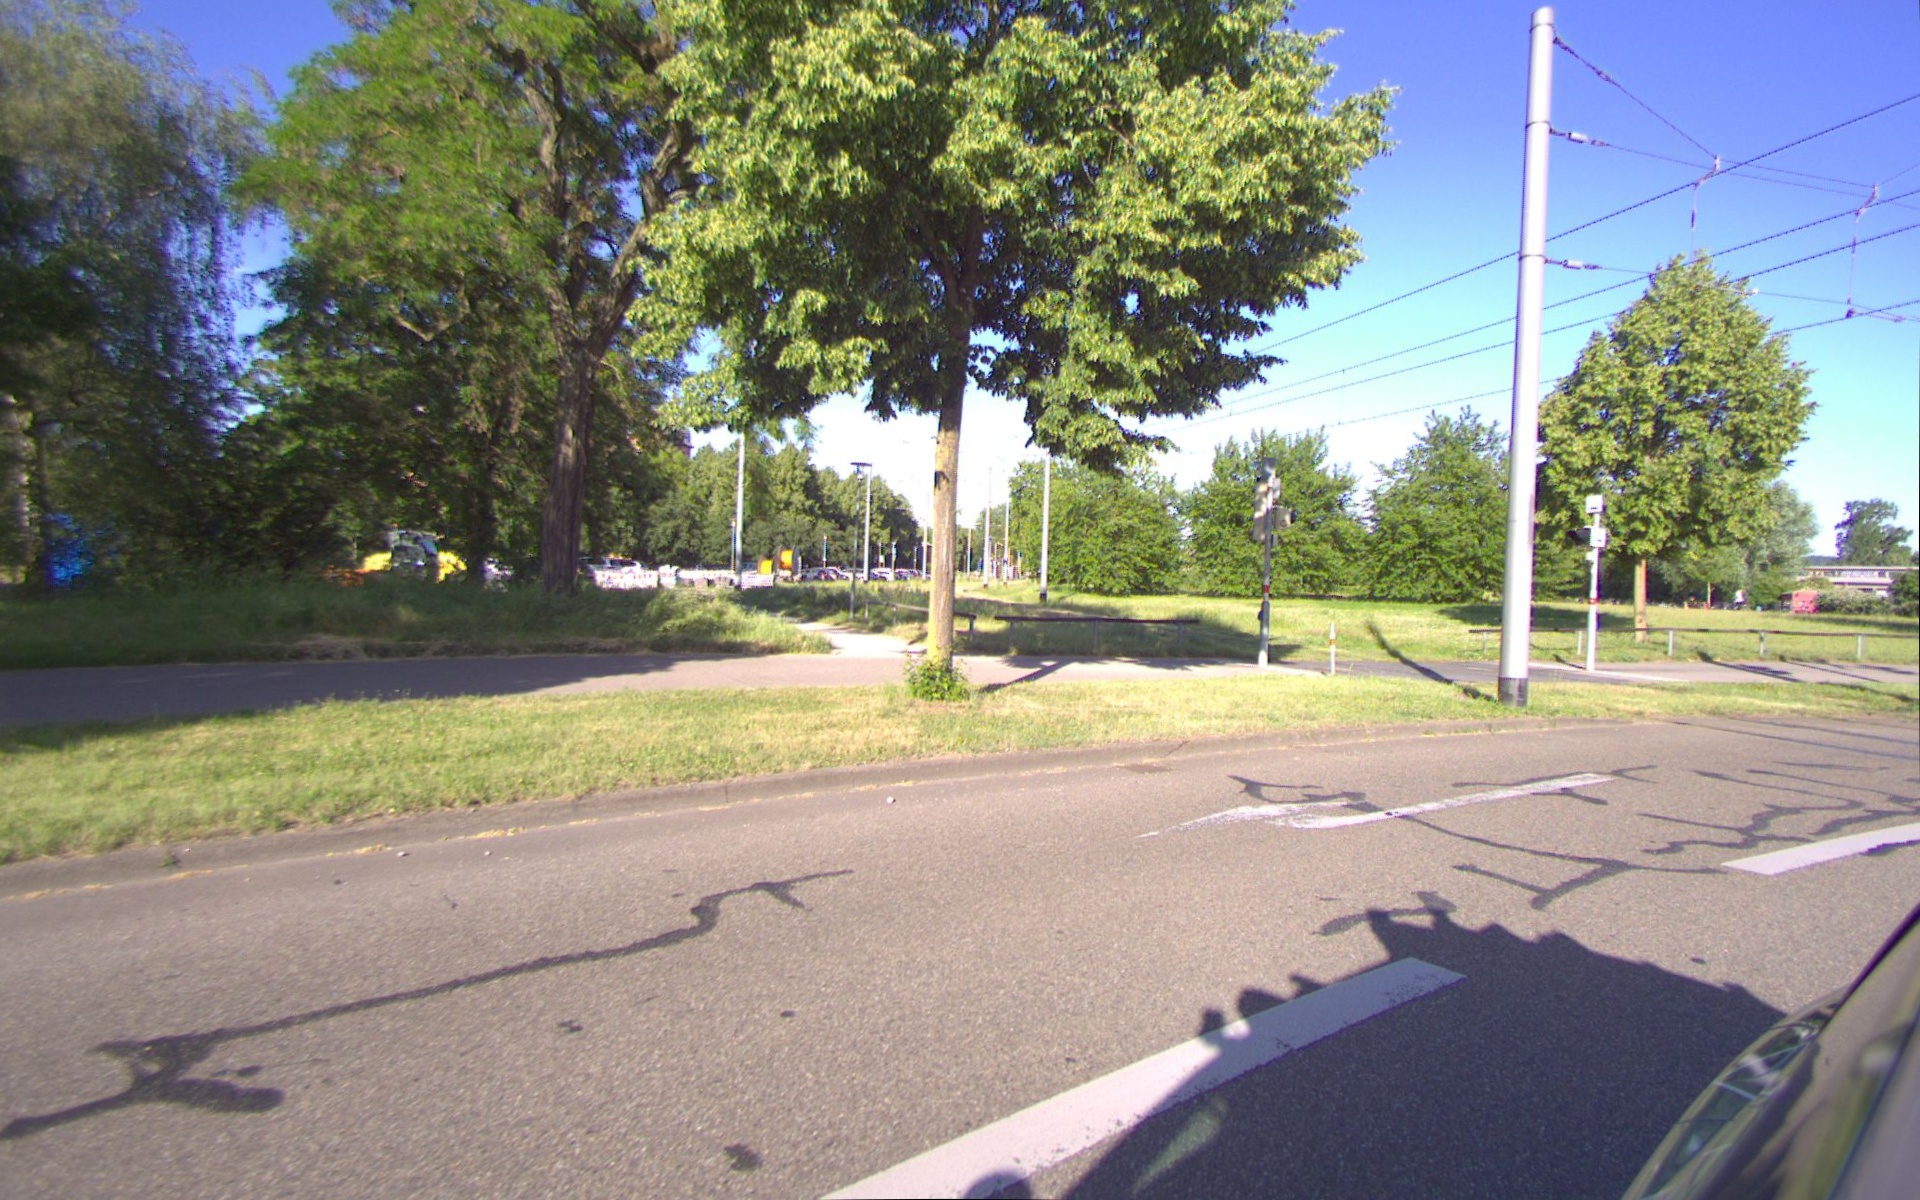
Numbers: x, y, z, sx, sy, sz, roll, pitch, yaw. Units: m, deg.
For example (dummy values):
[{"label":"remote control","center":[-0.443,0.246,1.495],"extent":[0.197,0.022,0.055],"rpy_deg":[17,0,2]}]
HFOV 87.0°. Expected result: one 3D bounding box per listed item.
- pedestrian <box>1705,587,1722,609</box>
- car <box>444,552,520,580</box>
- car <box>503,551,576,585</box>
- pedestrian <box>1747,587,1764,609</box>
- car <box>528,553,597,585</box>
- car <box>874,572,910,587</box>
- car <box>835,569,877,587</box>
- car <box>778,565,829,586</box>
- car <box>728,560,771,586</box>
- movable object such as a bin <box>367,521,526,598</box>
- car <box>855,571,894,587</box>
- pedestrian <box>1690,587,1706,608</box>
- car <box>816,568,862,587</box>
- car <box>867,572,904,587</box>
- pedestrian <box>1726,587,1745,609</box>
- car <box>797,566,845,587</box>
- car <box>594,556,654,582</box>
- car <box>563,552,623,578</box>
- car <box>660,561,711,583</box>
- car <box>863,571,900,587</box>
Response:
[{"label":"pedestrian","center":[52.414,-0.139,70.409],"extent":[0.779,1.458,0.687],"rpy_deg":[1,2,-37]},{"label":"car","center":[-28.392,-1.993,60.116],"extent":[3.745,1.576,1.828],"rpy_deg":[0,0,10]},{"label":"car","center":[-27.317,-2.057,65.839],"extent":[3.933,2.126,1.996],"rpy_deg":[0,0,8]},{"label":"pedestrian","center":[53.922,-0.117,68.576],"extent":[0.779,1.458,0.662],"rpy_deg":[1,2,-37]},{"label":"car","center":[-26.993,-2.086,68.758],"extent":[3.933,2.126,1.996],"rpy_deg":[0,0,8]},{"label":"car","center":[-7.992,-2.376,119.073],"extent":[3.933,1.778,1.910],"rpy_deg":[0,0,8]},{"label":"car","center":[-10.474,-2.209,101.936],"extent":[3.933,1.778,1.910],"rpy_deg":[0,0,8]},{"label":"car","center":[-13.372,-2.062,86.713],"extent":[3.933,1.778,1.996],"rpy_deg":[0,0,8]},{"label":"car","center":[-21.913,-2.832,105.249],"extent":[3.933,2.686,1.996],"rpy_deg":[0,0,8]},{"label":"movable object such as a bin","center":[-19.272,-1.486,38.158],"extent":[4.949,2.824,2.001],"rpy_deg":[0,0,-3]},{"label":"car","center":[-9.321,-2.297,110.909],"extent":[3.933,1.778,1.910],"rpy_deg":[0,0,8]},{"label":"pedestrian","center":[52.151,-0.151,71.494],"extent":[0.779,1.458,0.687],"rpy_deg":[1,2,-37]},{"label":"car","center":[-11.340,-2.142,95.159],"extent":[3.933,1.778,1.910],"rpy_deg":[0,0,8]},{"label":"car","center":[-8.565,-2.354,116.711],"extent":[3.933,1.778,1.910],"rpy_deg":[0,0,8]},{"label":"pedestrian","center":[53.404,-0.130,69.697],"extent":[0.779,1.458,0.774],"rpy_deg":[1,2,-37]},{"label":"car","center":[-12.357,-2.095,90.240],"extent":[3.933,1.778,1.910],"rpy_deg":[0,0,8]},{"label":"car","center":[-26.025,-2.407,78.475],"extent":[3.933,1.984,1.996],"rpy_deg":[0,0,8]},{"label":"car","center":[-26.647,-2.510,73.473],"extent":[3.787,1.802,1.689],"rpy_deg":[0,0,12]},{"label":"car","center":[-24.427,-2.461,90.254],"extent":[3.933,1.920,1.996],"rpy_deg":[0,0,8]},{"label":"car","center":[-8.871,-2.330,114.305],"extent":[3.933,1.778,1.910],"rpy_deg":[0,0,8]}]
